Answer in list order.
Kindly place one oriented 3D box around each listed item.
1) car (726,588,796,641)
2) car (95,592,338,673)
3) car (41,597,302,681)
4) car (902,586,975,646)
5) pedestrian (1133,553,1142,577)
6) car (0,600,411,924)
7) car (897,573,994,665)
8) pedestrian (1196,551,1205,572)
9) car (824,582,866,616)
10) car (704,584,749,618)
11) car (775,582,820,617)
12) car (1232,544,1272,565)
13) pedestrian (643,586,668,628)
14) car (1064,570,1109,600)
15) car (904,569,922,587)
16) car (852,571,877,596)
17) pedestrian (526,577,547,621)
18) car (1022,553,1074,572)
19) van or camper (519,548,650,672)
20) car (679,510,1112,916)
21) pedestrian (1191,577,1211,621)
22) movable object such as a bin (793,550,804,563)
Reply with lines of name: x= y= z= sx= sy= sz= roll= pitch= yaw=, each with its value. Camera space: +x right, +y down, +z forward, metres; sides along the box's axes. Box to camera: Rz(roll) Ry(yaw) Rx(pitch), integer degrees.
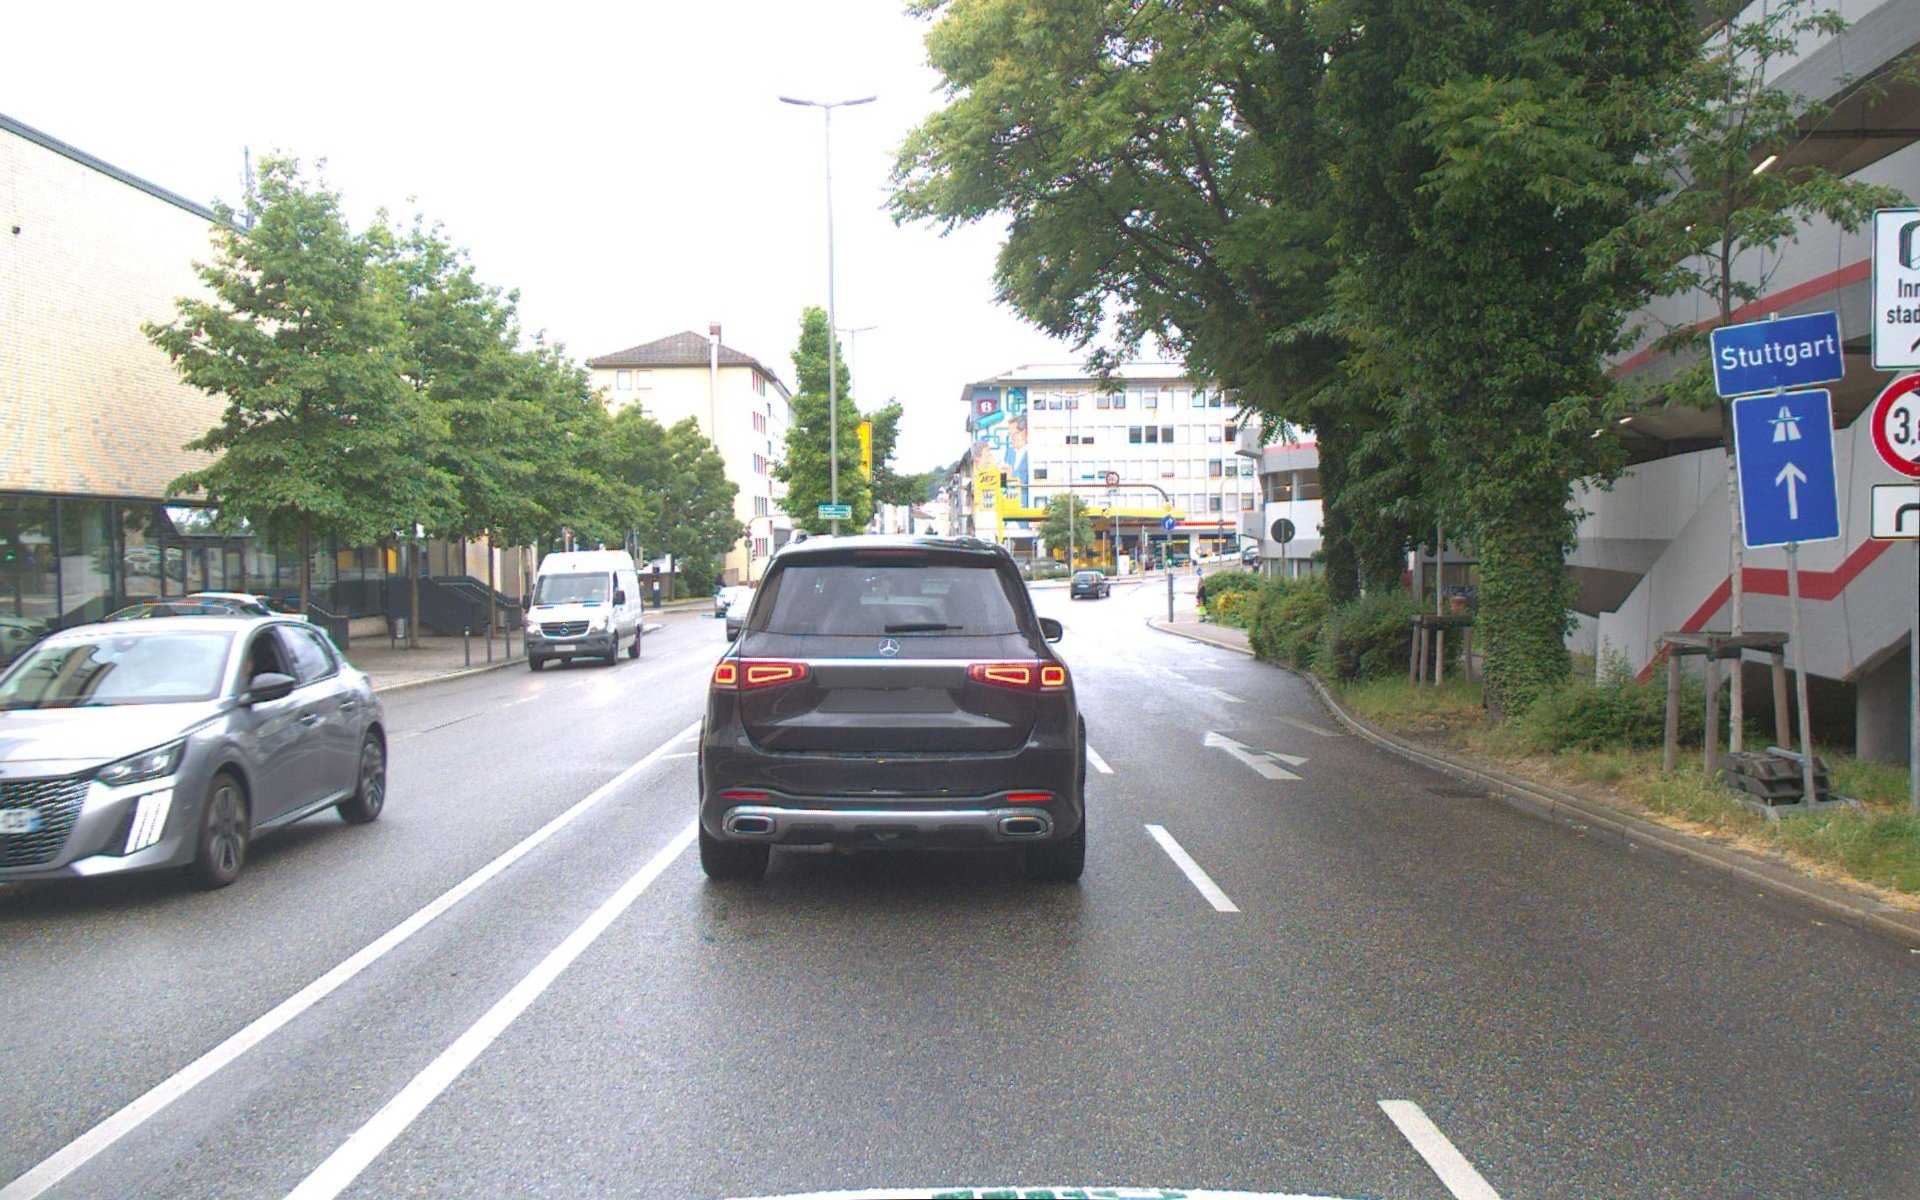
car: x=-6.209 y=0.436 z=51.960 sx=1.846 sy=1.524 sz=4.559 roll=-2 pitch=0 yaw=-3
car: x=-15.375 y=0.659 z=34.353 sx=4.090 sy=1.574 sz=2.000 roll=1 pitch=0 yaw=0
car: x=-15.174 y=0.744 z=32.052 sx=4.097 sy=1.521 sz=1.997 roll=1 pitch=0 yaw=-8
car: x=-0.592 y=0.429 z=44.902 sx=1.869 sy=1.527 sz=3.999 roll=1 pitch=0 yaw=-1
pedestrian: x=12.951 y=-2.580 z=120.500 sx=0.560 sy=1.727 sz=0.631 roll=1 pitch=-1 yaw=0
car: x=-4.710 y=0.790 z=9.825 sx=1.706 sy=1.496 sz=3.880 roll=-2 pitch=0 yaw=-3
car: x=-0.318 y=0.390 z=35.623 sx=1.953 sy=1.832 sz=3.999 roll=1 pitch=0 yaw=-1
pedestrian: x=19.963 y=-3.196 z=137.107 sx=0.515 sy=1.757 sz=0.689 roll=0 pitch=1 yaw=26
car: x=-6.649 y=-0.085 z=96.257 sx=1.852 sy=1.843 sz=4.576 roll=-3 pitch=0 yaw=2
car: x=-10.953 y=0.050 z=77.825 sx=1.761 sy=1.521 sz=3.801 roll=1 pitch=0 yaw=-3
car: x=-7.371 y=-0.019 z=75.375 sx=1.776 sy=1.487 sz=4.285 roll=-3 pitch=0 yaw=-3
car: x=24.532 y=-3.820 z=138.824 sx=1.958 sy=1.735 sz=3.990 roll=-1 pitch=1 yaw=33
pedestrian: x=-12.592 y=0.296 z=68.355 sx=0.931 sy=1.734 sz=0.709 roll=1 pitch=-1 yaw=-18
car: x=7.010 y=-0.847 z=91.542 sx=1.758 sy=1.552 sz=4.059 roll=1 pitch=1 yaw=15
car: x=-5.620 y=-2.601 z=197.554 sx=1.953 sy=2.049 sz=4.000 roll=1 pitch=0 yaw=0
car: x=-7.421 y=-1.277 z=128.652 sx=1.830 sy=1.871 sz=3.818 roll=1 pitch=0 yaw=-2
pedestrian: x=-16.602 y=-0.026 z=64.905 sx=0.630 sy=1.695 sz=1.017 roll=1 pitch=0 yaw=-7
car: x=6.857 y=-2.902 z=128.658 sx=1.724 sy=1.400 sz=3.935 roll=-3 pitch=2 yaw=-44
van or camper: x=-8.817 y=0.208 z=39.350 sx=2.061 sy=2.627 sz=5.903 roll=-2 pitch=0 yaw=-4
car: x=-0.319 y=0.526 z=9.578 sx=1.953 sy=1.832 sz=3.999 roll=1 pitch=0 yaw=-1
pedestrian: x=9.535 y=-0.038 z=65.493 sx=0.634 sy=1.740 sz=0.470 roll=0 pitch=-1 yaw=35
movable object such as a bin: x=-13.748 y=-3.675 z=140.879 sx=0.891 sy=1.056 sz=0.844 roll=1 pitch=0 yaw=0
